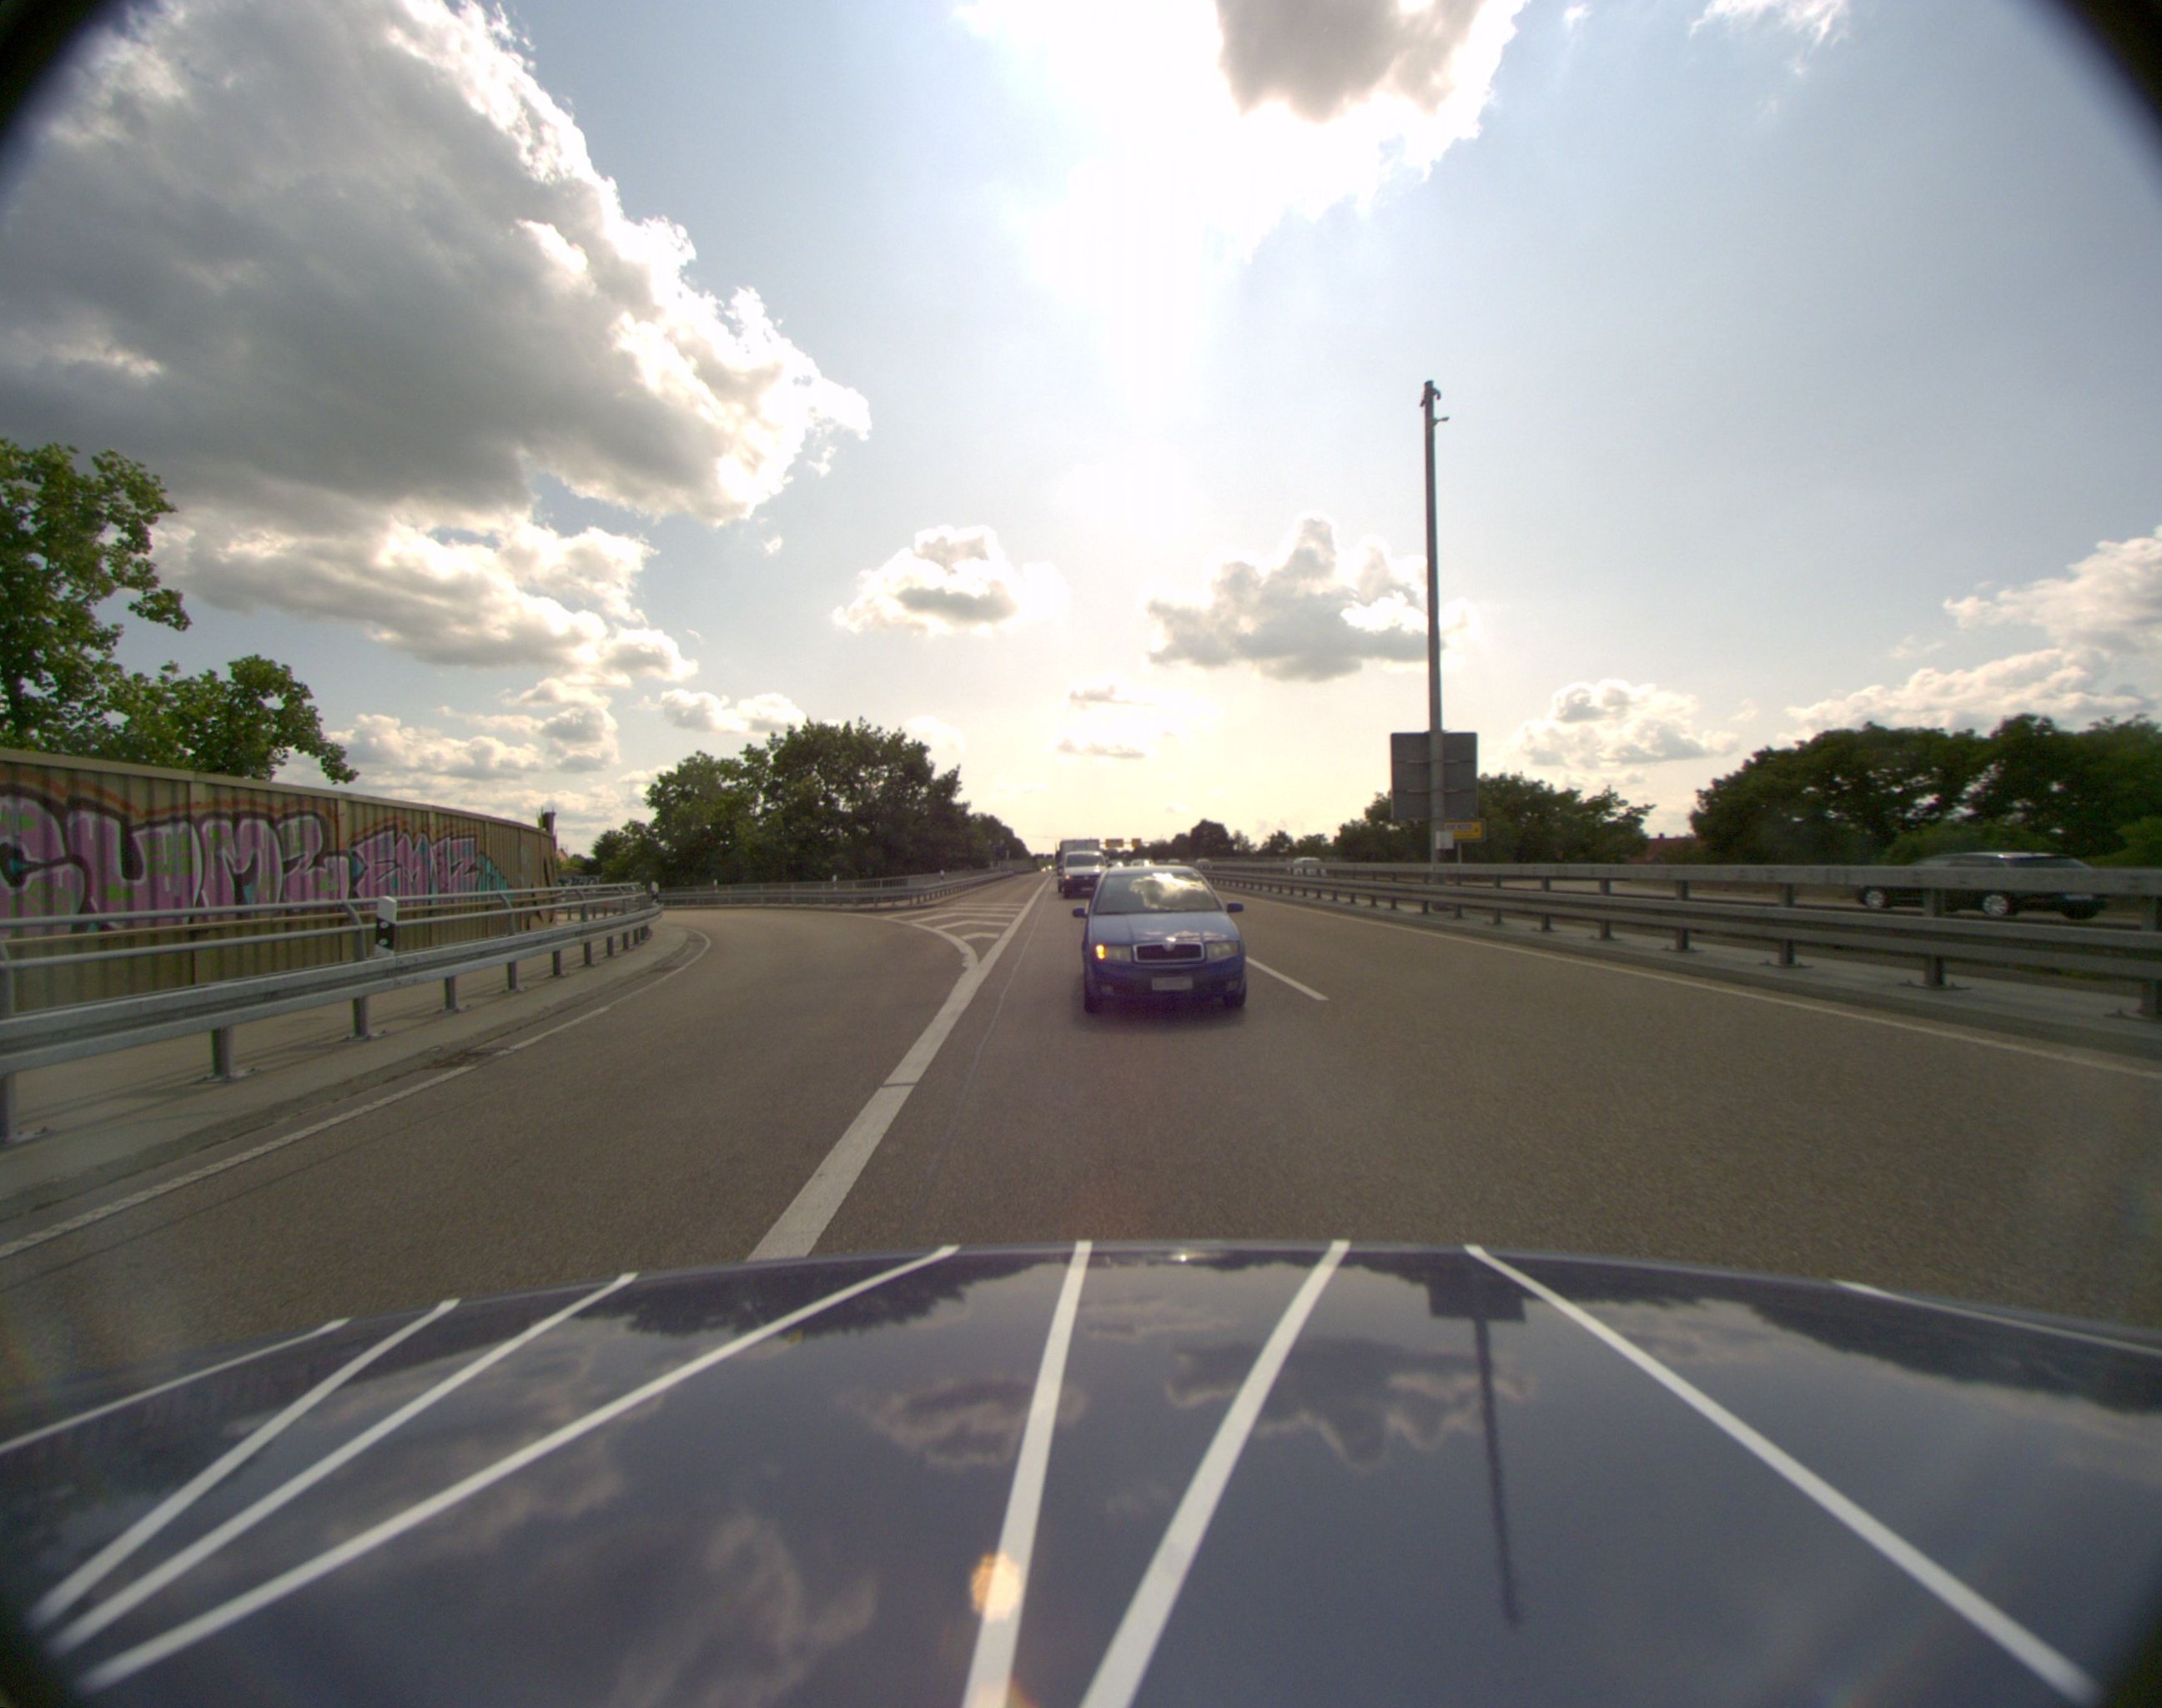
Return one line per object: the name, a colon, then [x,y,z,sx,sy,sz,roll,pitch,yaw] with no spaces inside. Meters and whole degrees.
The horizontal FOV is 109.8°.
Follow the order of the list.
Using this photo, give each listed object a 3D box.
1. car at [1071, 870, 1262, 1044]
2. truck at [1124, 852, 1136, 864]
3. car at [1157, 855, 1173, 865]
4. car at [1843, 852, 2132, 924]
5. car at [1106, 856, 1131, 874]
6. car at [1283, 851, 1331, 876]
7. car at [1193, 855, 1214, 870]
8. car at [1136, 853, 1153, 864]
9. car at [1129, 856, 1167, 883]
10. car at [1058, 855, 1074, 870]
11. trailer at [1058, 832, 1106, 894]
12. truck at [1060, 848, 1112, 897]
car: [0.773,0.956,8.652,1.625,1.403,3.771,-3,0,0]
truck: [9.732,0.797,150.816,1.877,2.174,5.187,-3,0,0]
car: [13.654,0.963,123.727,1.827,1.629,3.999,-3,0,-2]
car: [20.059,0.677,17.122,1.682,1.393,3.999,-2,0,-1]
car: [3.368,0.990,69.184,1.895,1.518,4.464,-3,0,-1]
car: [15.509,0.617,52.350,1.802,1.586,4.711,-3,0,-1]
car: [14.637,0.994,90.943,1.834,1.572,3.953,-3,0,0]
car: [9.404,0.671,112.811,1.907,1.520,4.242,-3,0,-3]
car: [4.092,0.905,46.919,1.779,1.518,4.464,-3,0,-1]
car: [-1.724,0.978,87.728,1.802,1.586,3.984,-3,0,-1]
trailer: [-0.034,0.425,37.434,1.999,2.723,5.966,-3,0,-2]
truck: [0.163,0.771,32.401,2.008,1.905,3.999,-2,0,-2]
